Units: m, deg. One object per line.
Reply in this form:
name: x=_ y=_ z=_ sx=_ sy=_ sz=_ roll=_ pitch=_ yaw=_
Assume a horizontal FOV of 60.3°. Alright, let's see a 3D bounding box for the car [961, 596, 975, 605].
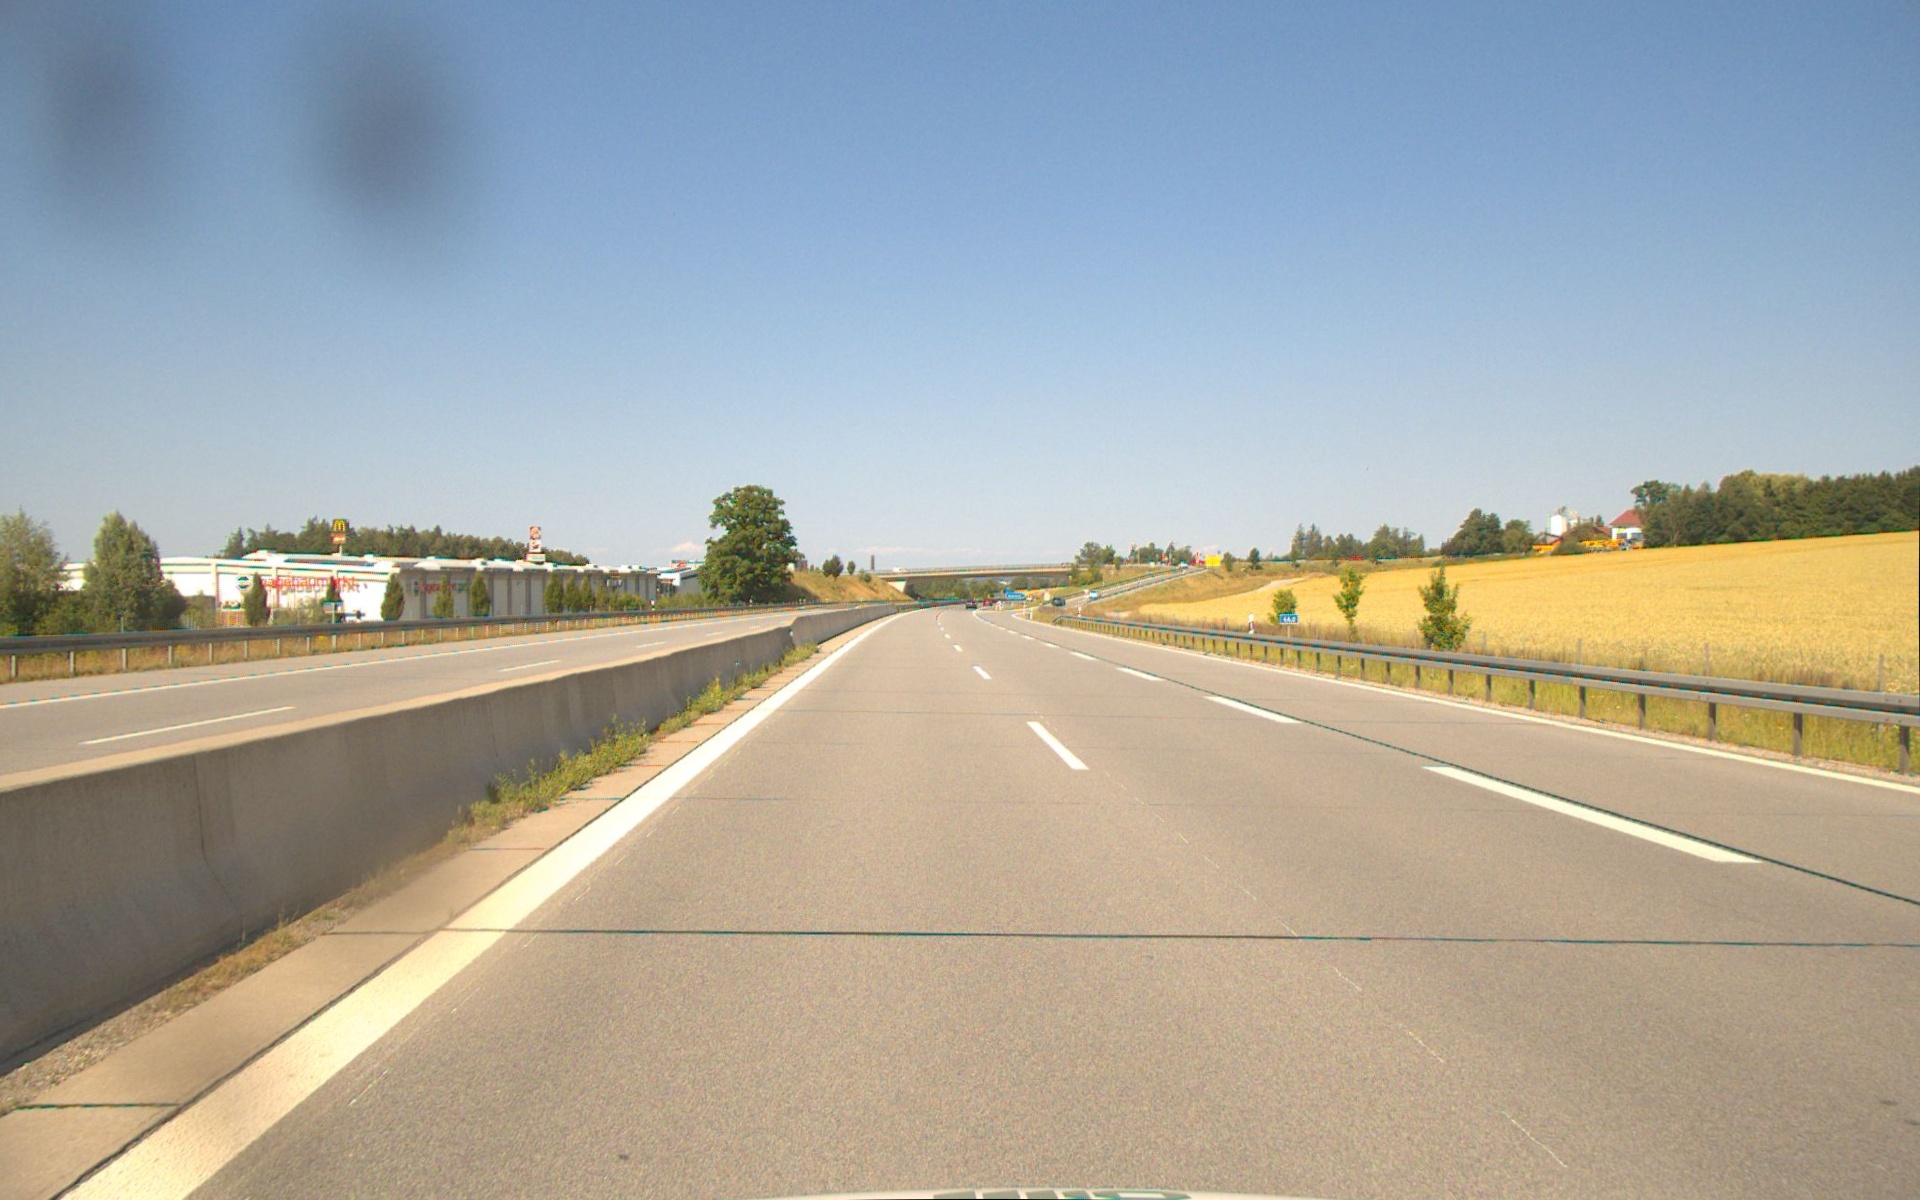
car: x=1.238 y=0.045 z=257.440 sx=1.952 sy=1.445 sz=4.001 roll=-1 pitch=0 yaw=2
